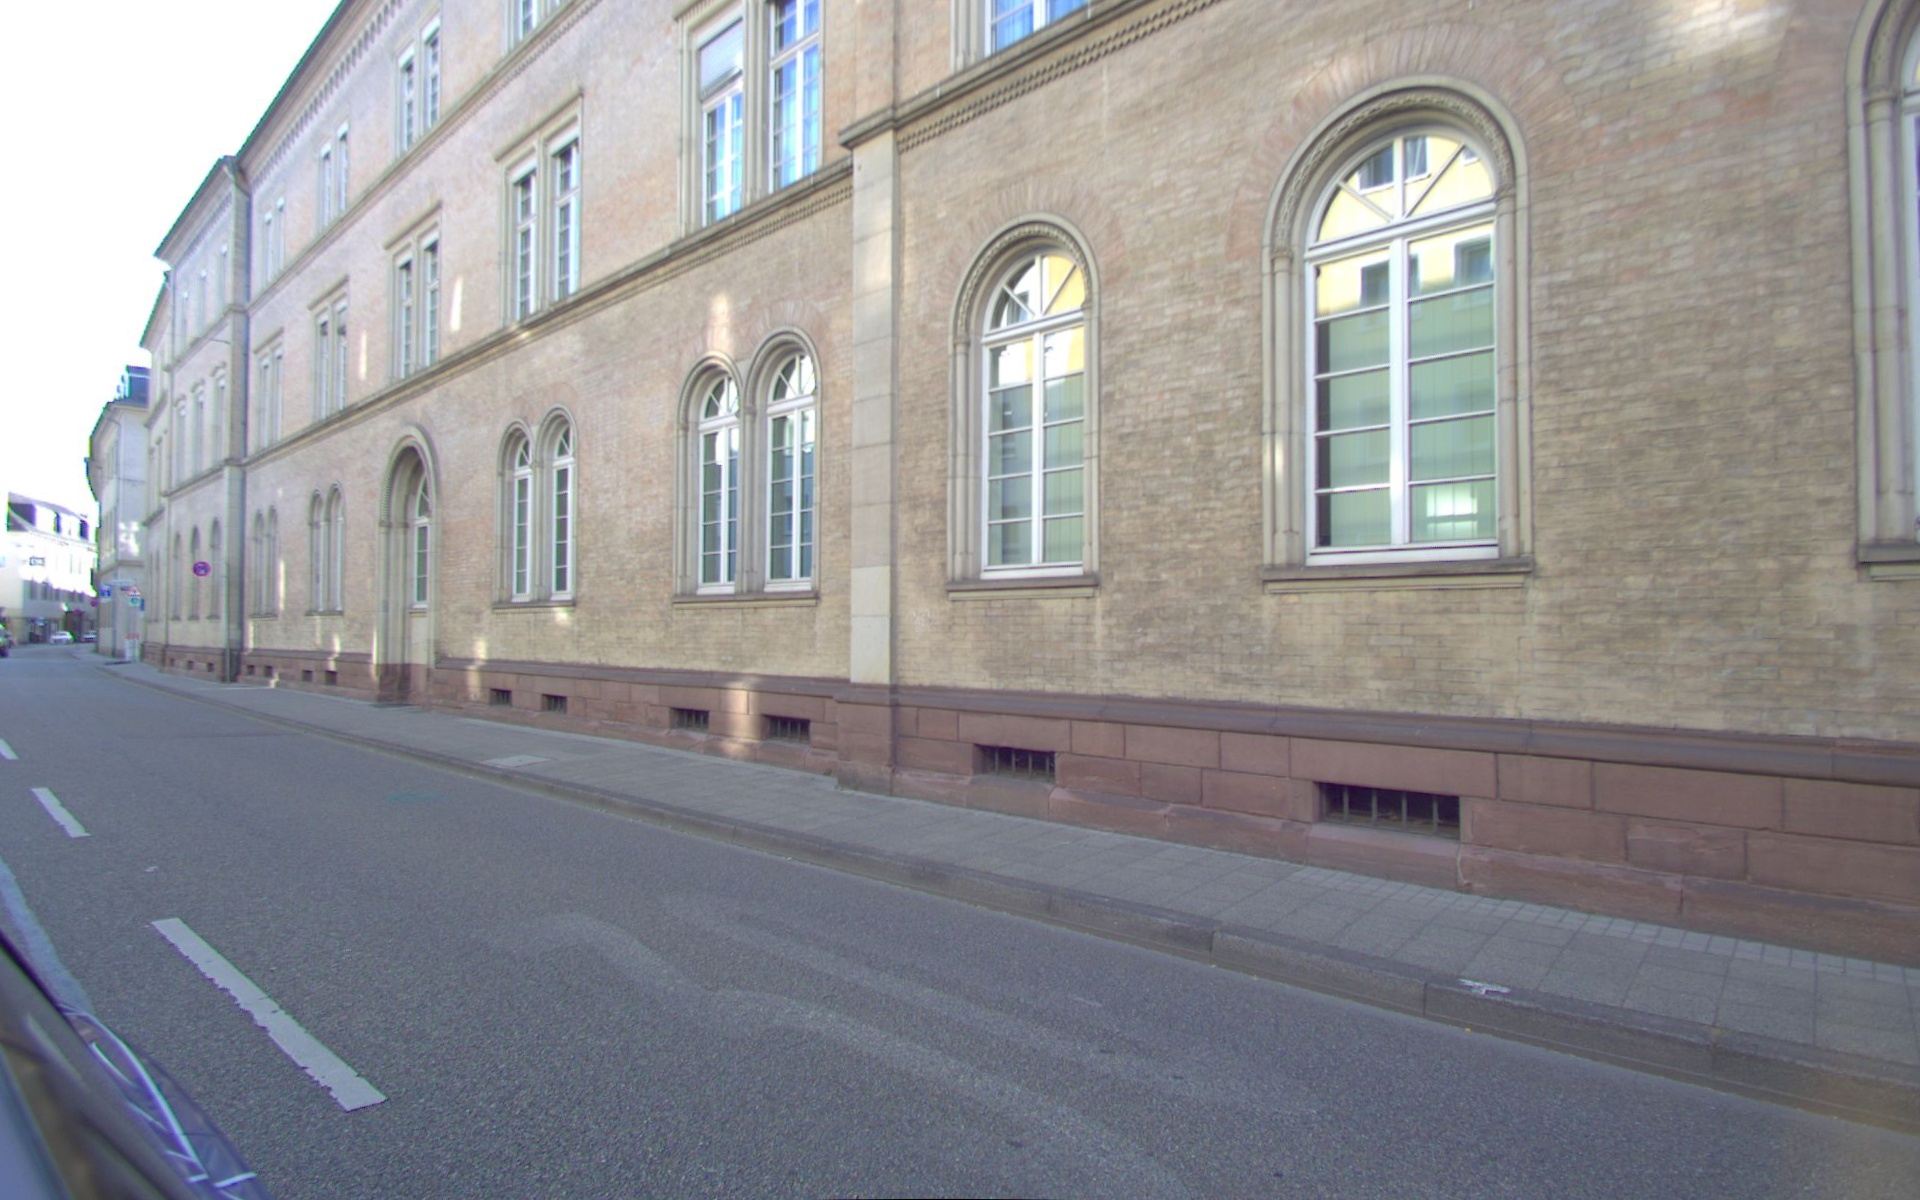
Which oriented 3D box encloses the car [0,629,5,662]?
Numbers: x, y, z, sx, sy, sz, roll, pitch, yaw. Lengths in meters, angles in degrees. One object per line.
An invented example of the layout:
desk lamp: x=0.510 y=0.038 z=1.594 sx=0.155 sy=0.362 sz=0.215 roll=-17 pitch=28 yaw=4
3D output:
car: x=-52.049 y=2.396 z=53.686 sx=1.895 sy=1.735 sz=4.965 roll=2 pitch=-2 yaw=-42

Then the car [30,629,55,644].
car: x=-102.424 y=4.068 z=113.010 sx=1.511 sy=1.737 sz=3.749 roll=1 pitch=-2 yaw=-34

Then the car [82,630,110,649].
car: x=-80.116 y=3.644 z=93.859 sx=1.638 sy=1.737 sz=3.748 roll=1 pitch=-2 yaw=-36

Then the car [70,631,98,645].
car: x=-109.427 y=4.721 z=126.465 sx=1.896 sy=1.737 sz=4.242 roll=1 pitch=-2 yaw=-31
